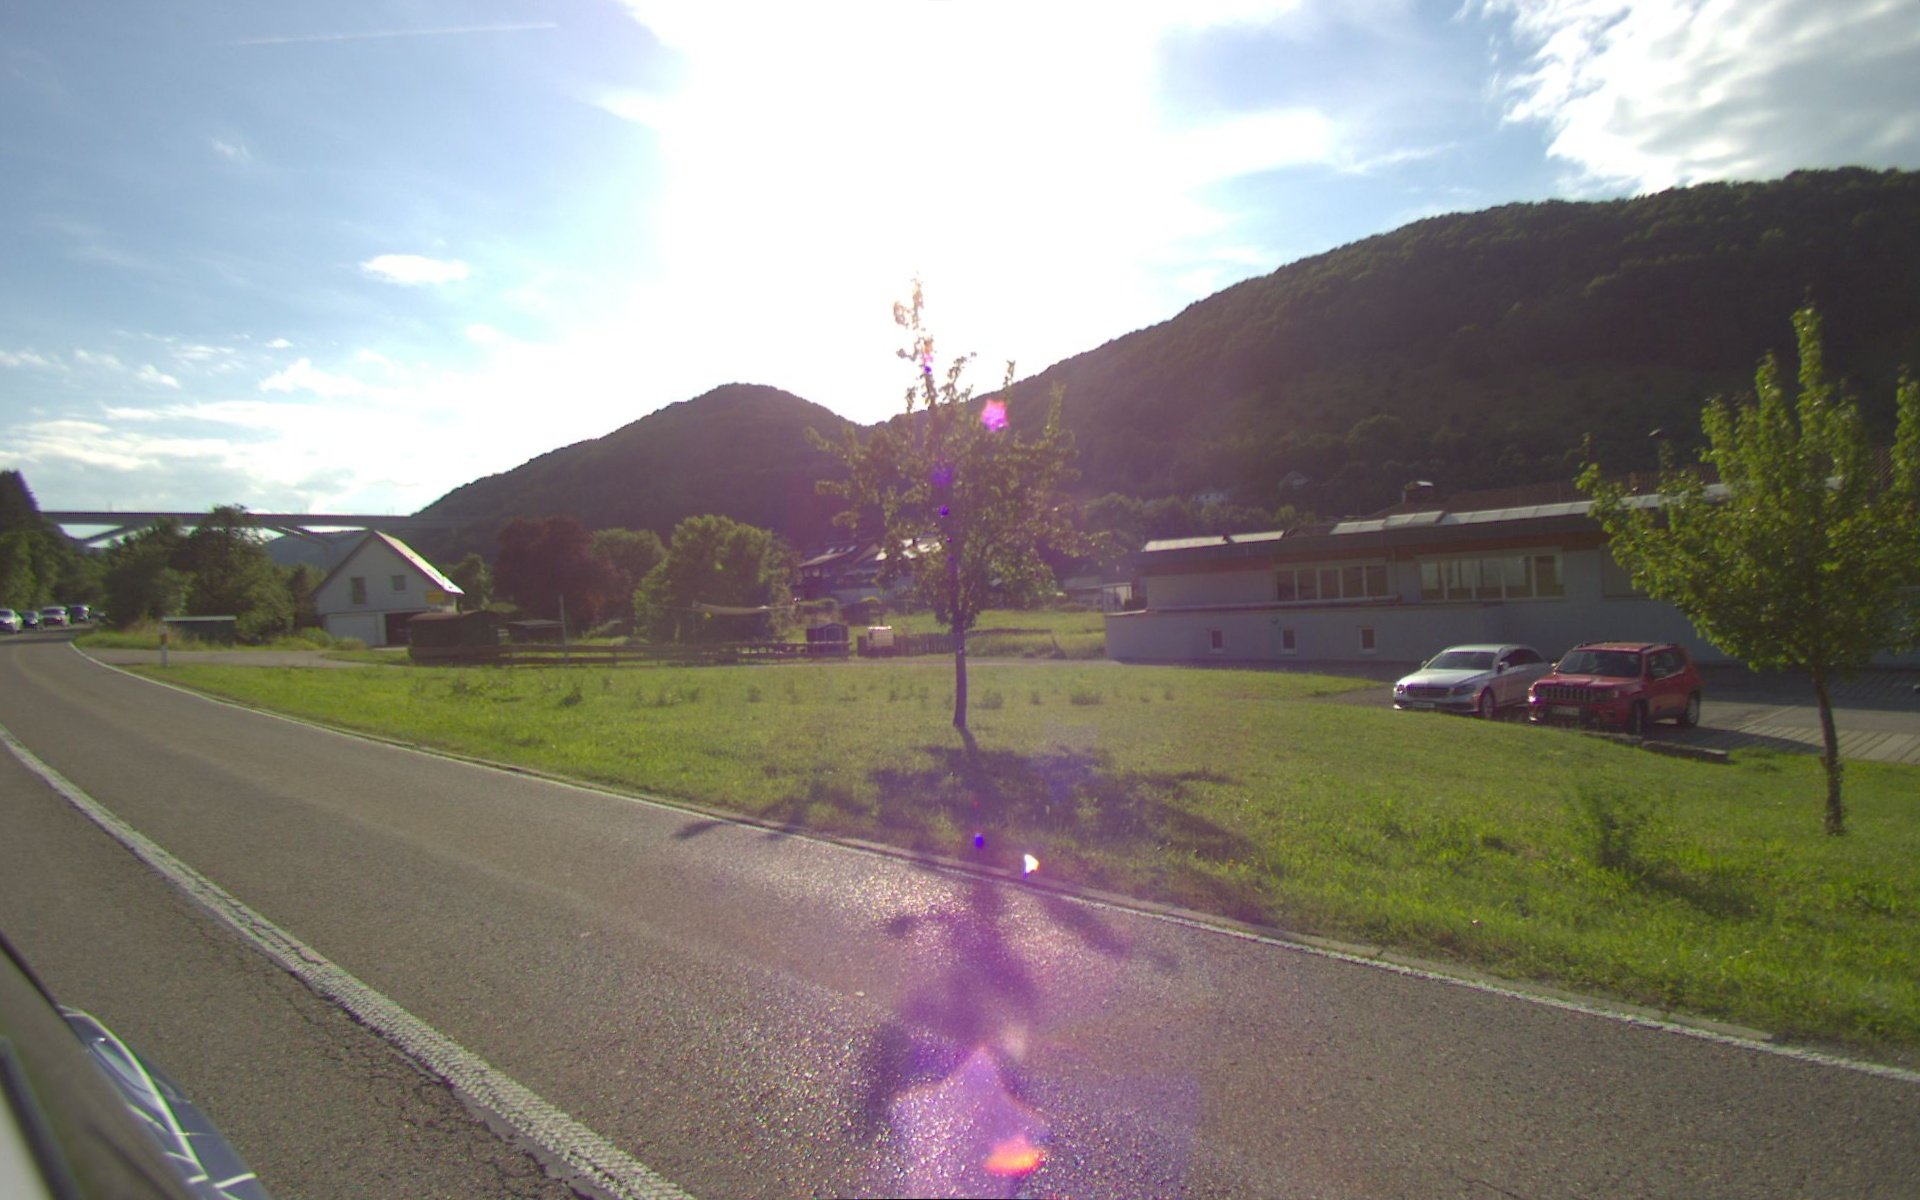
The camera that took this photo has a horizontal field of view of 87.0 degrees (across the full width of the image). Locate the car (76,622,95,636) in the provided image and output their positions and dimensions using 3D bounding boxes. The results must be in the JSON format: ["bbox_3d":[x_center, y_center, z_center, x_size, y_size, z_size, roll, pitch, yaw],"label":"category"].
[{"bbox_3d":[-98.984,3.244,114.534,1.606,1.490,3.685,-1,0,-41],"label":"car"}]

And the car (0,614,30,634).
[{"bbox_3d":[-71.867,1.800,76.909,1.606,1.490,3.685,-1,0,-41],"label":"car"}]

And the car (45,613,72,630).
[{"bbox_3d":[-80.521,1.891,90.382,3.681,1.490,1.607,-1,0,45],"label":"car"}]

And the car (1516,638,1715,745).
[{"bbox_3d":[12.821,1.677,19.713,4.264,1.682,1.852,-1,0,-36],"label":"car"}]

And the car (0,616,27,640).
[{"bbox_3d":[-61.760,1.776,65.584,3.678,1.490,1.609,-1,0,42],"label":"car"}]

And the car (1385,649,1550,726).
[{"bbox_3d":[11.207,1.845,22.290,3.837,1.379,1.856,0,0,-39],"label":"car"}]
